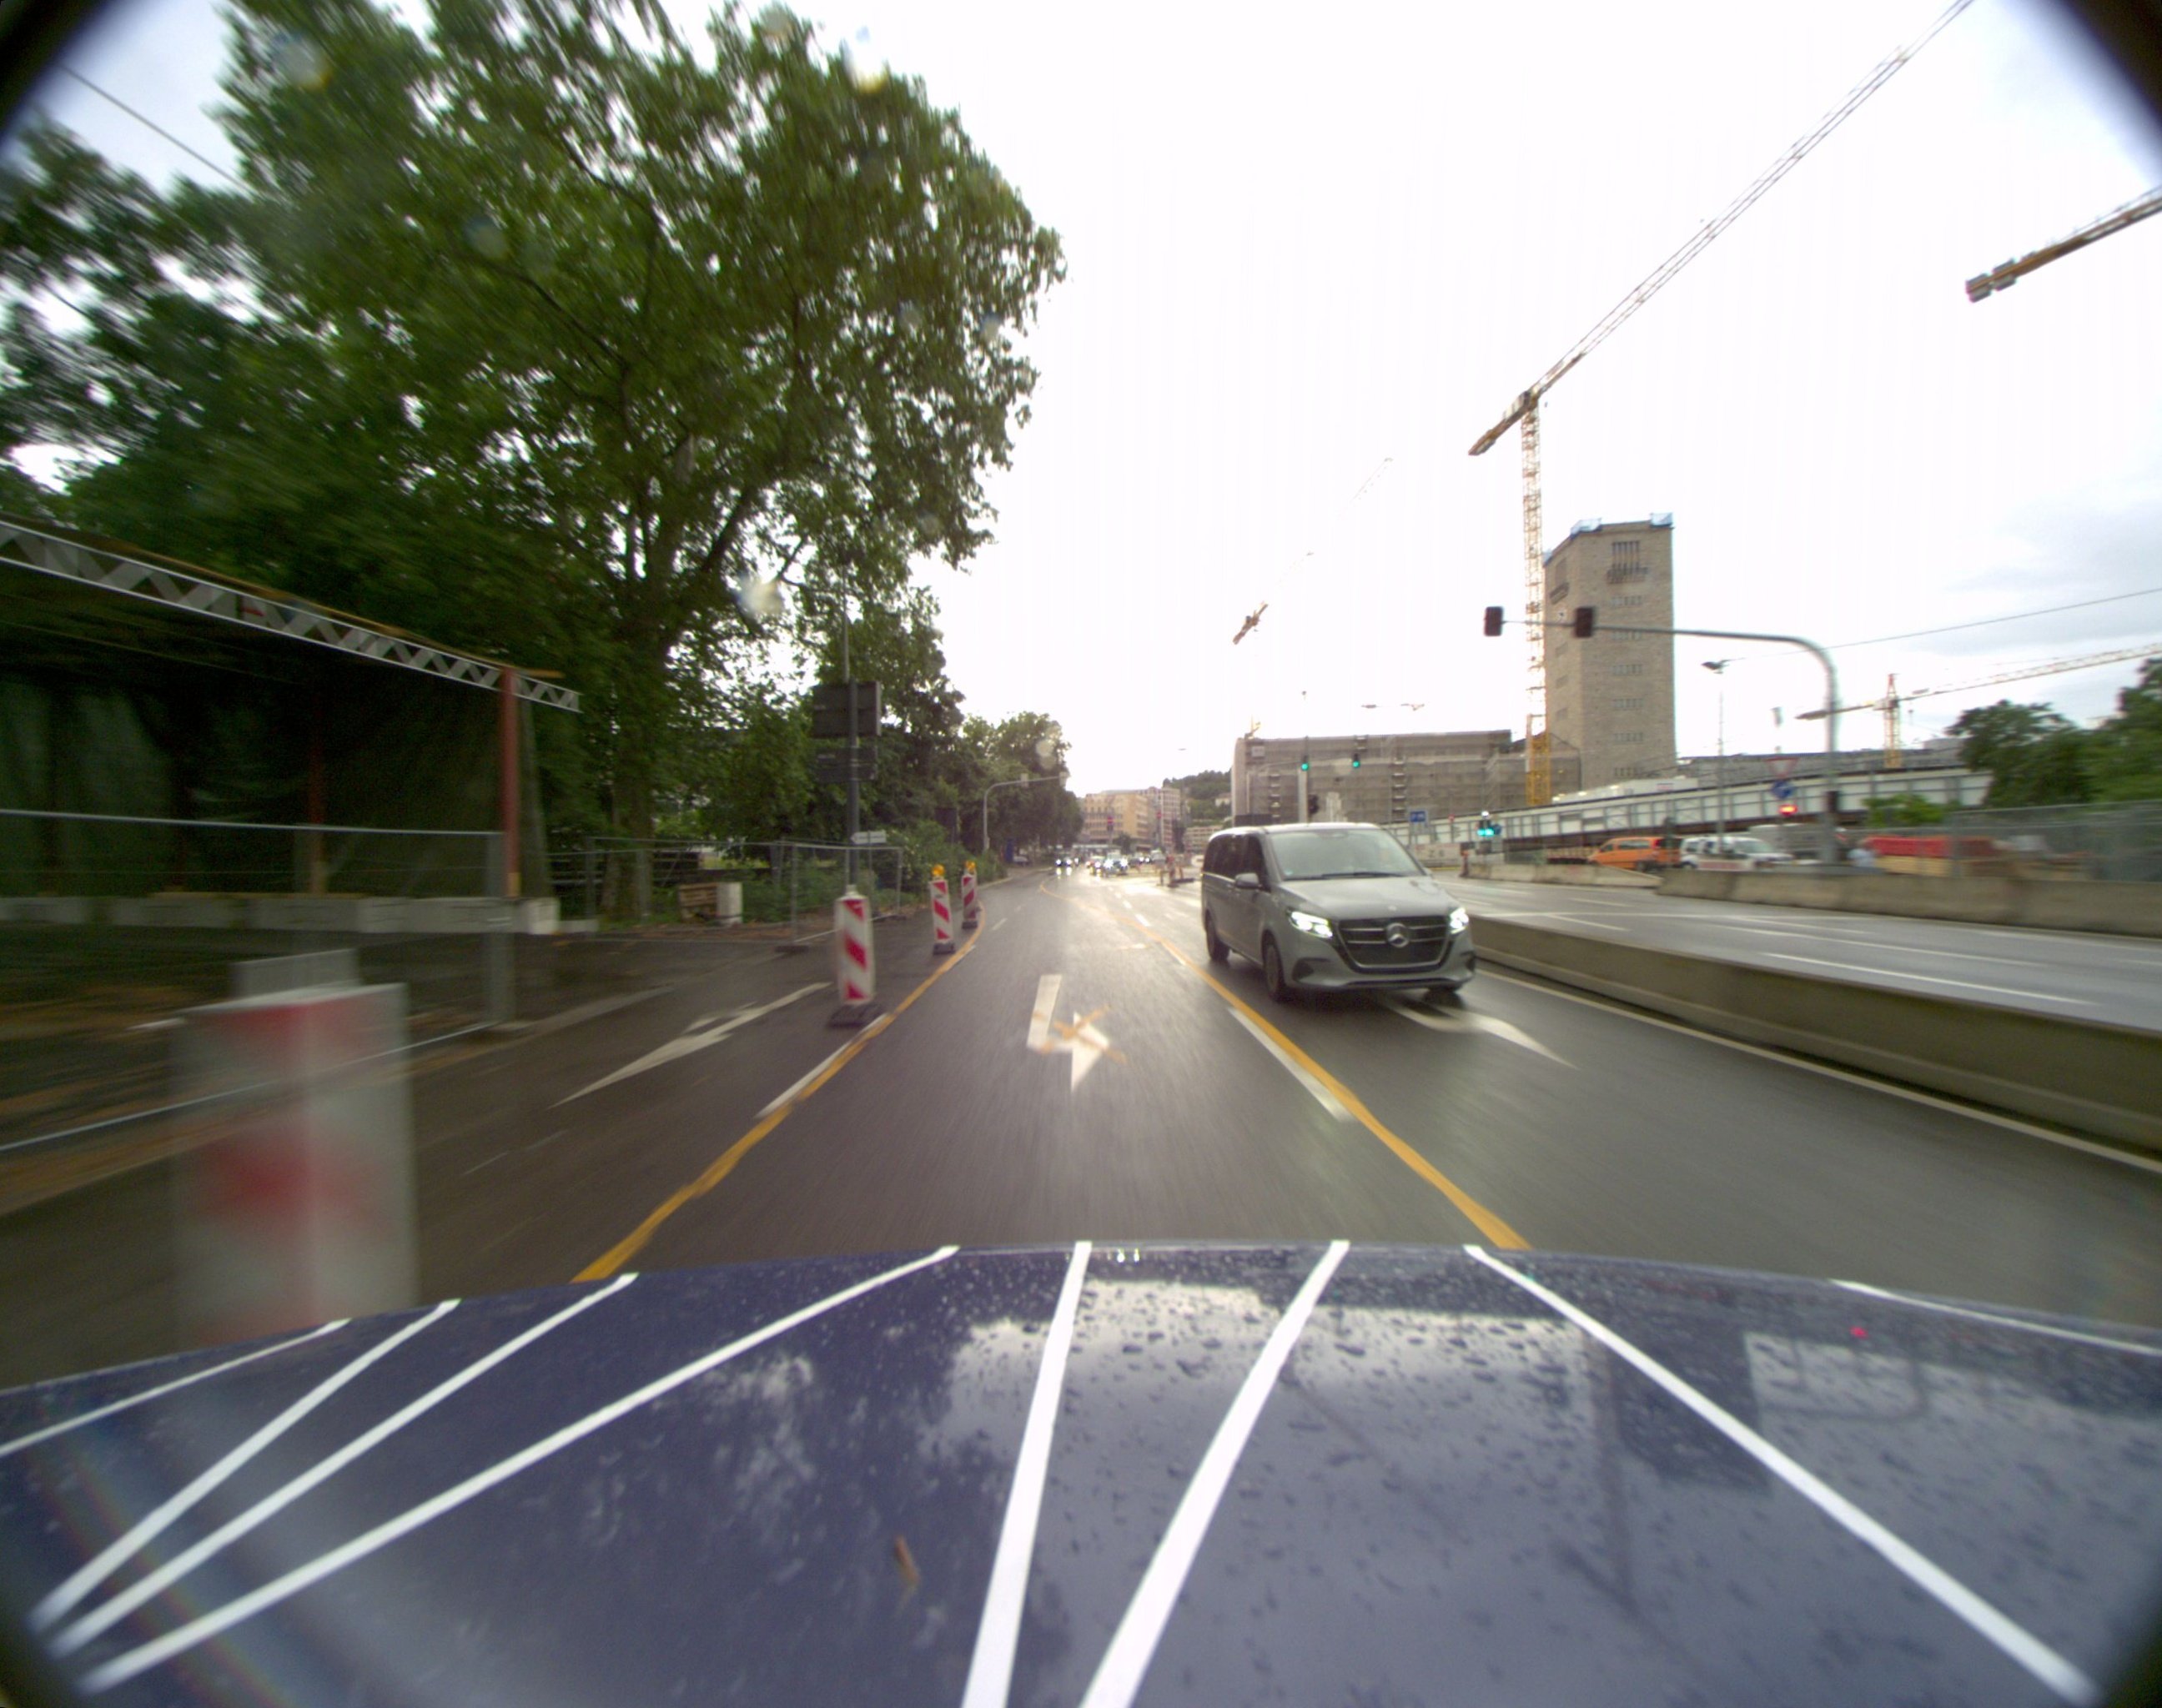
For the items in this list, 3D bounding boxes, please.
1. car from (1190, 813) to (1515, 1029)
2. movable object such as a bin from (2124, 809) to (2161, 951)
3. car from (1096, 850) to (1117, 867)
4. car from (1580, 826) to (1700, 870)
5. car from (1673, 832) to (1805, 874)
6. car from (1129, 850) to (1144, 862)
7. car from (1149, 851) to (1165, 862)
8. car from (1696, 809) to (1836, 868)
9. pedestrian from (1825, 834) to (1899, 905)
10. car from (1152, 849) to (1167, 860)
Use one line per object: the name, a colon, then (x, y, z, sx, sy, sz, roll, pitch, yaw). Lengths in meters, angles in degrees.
car: (2.806, 0.619, 9.445, 1.999, 1.845, 5.357, -2, 0, -1)
movable object such as a bin: (25.564, 0.588, 13.989, 3.941, 3.110, 6.388, 0, 1, 1)
car: (2.784, 0.502, 82.418, 1.812, 1.455, 4.920, 12, 1, 4)
car: (29.269, -0.303, 40.071, 1.999, 2.088, 5.581, 1, 0, -2)
car: (29.346, -0.077, 34.140, 1.849, 1.751, 4.797, 0, 0, 1)
car: (7.982, 0.270, 109.568, 1.998, 1.803, 4.293, 0, 1, 3)
car: (11.515, 0.382, 115.349, 2.172, 1.564, 4.000, 0, 0, 2)
car: (38.125, -0.826, 42.629, 2.279, 3.048, 6.168, 0, 1, 0)
pedestrian: (22.699, 0.442, 22.112, 1.171, 2.002, 1.185, -1, 1, 28)
car: (11.254, 0.068, 108.852, 1.832, 1.643, 4.574, 0, 0, 2)
